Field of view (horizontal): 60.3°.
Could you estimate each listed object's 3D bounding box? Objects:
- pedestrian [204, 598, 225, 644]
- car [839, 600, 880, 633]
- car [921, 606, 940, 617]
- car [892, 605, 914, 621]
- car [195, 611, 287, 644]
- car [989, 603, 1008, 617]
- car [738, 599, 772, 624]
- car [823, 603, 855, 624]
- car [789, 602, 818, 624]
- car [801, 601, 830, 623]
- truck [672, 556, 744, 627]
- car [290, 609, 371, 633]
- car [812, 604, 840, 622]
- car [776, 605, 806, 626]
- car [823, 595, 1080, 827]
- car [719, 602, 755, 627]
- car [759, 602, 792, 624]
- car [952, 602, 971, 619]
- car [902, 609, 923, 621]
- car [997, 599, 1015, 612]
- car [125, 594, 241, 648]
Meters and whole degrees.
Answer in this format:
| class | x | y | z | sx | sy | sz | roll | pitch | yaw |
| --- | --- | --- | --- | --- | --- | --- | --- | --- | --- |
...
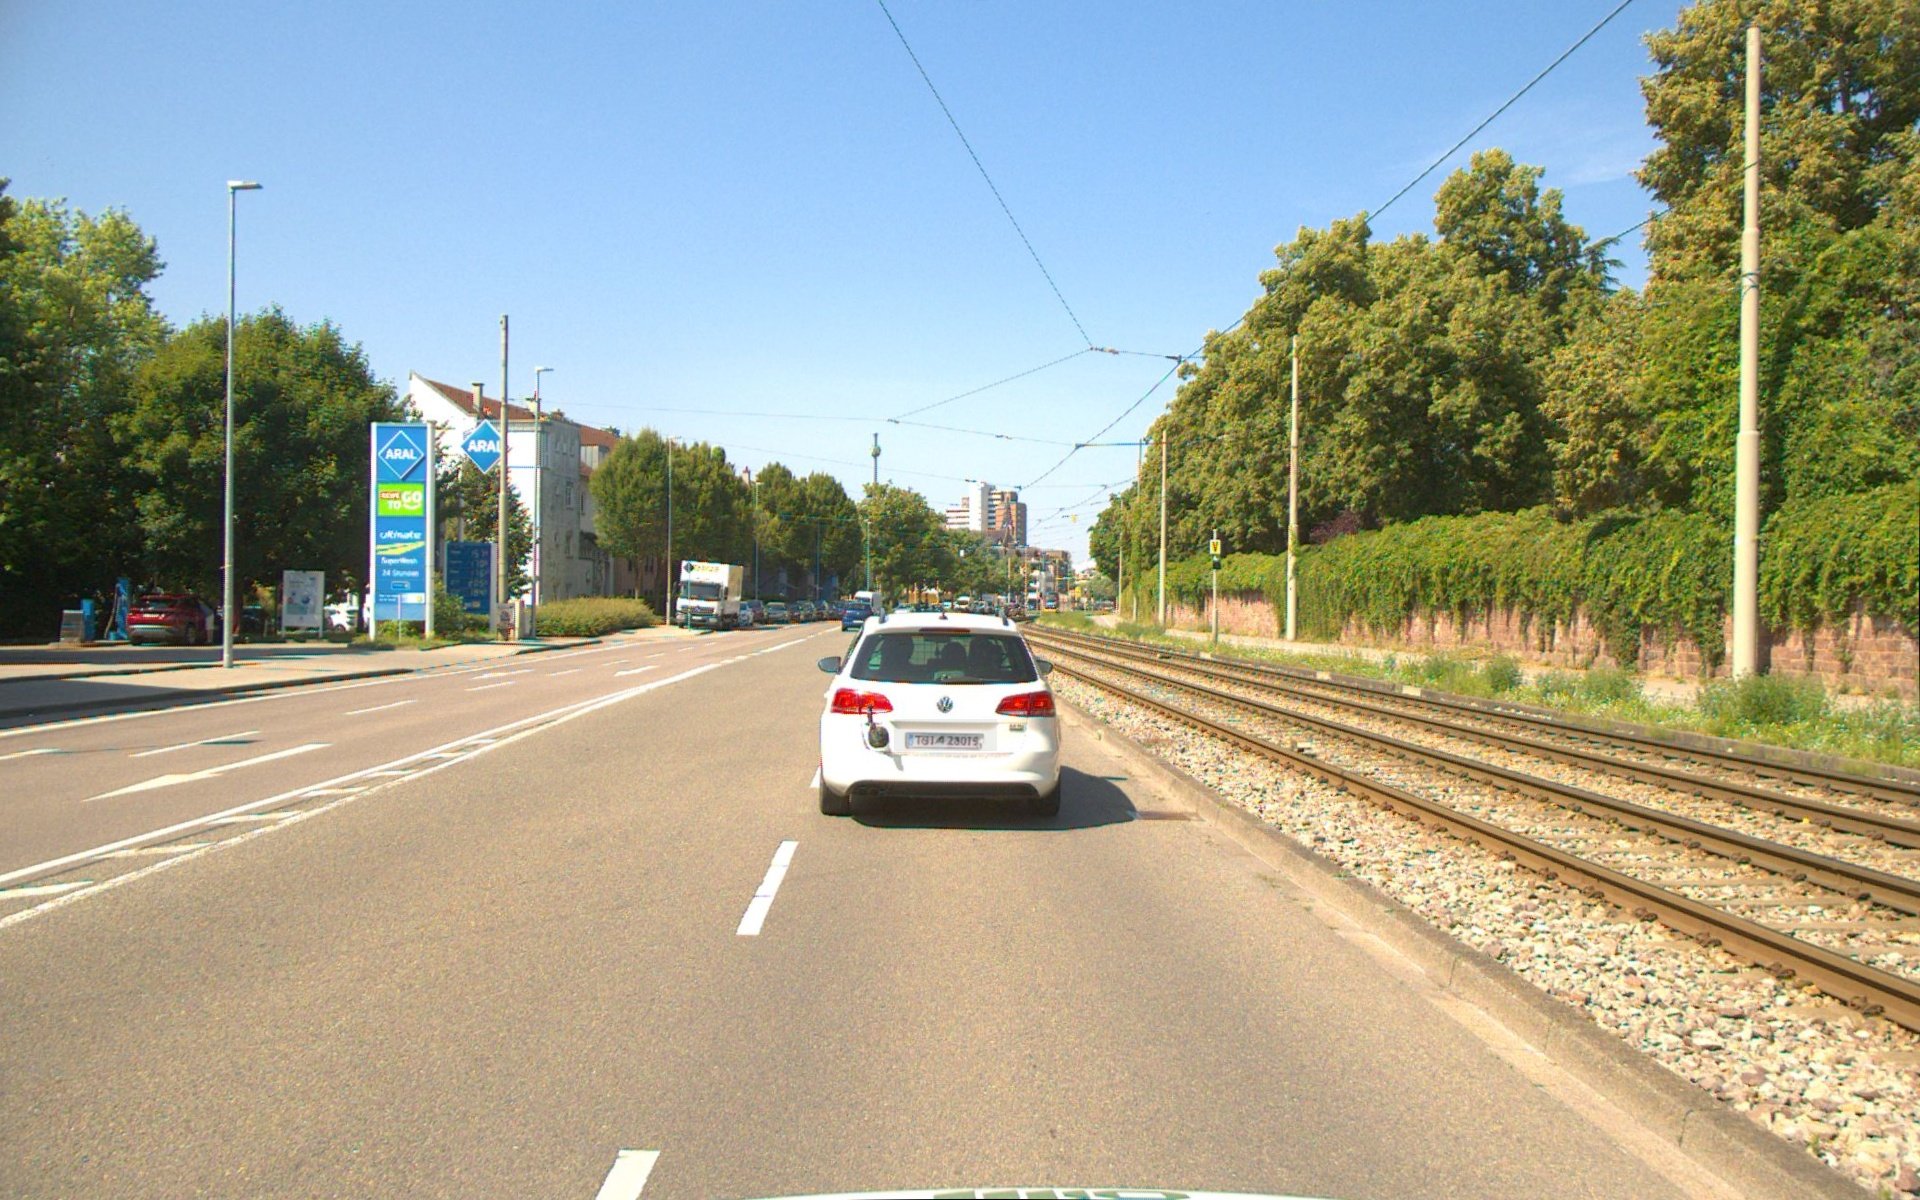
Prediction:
| class | x | y | z | sx | sy | sz | roll | pitch | yaw |
| --- | --- | --- | --- | --- | --- | --- | --- | --- | --- |
| pedestrian | -24.778 | 0.703 | 54.991 | 0.488 | 1.507 | 0.500 | 0 | 0 | -2 |
| car | -5.011 | 0.798 | 82.718 | 1.764 | 1.533 | 4.000 | 1 | 1 | 0 |
| car | -3.648 | 1.436 | 206.313 | 1.663 | 1.376 | 4.003 | 0 | -1 | 10 |
| car | -5.341 | 1.264 | 156.249 | 1.624 | 1.445 | 4.311 | -2 | 0 | 4 |
| car | -32.768 | 1.248 | 75.447 | 3.522 | 1.510 | 1.662 | 0 | 0 | 12 |
| car | 4.449 | 1.160 | 190.285 | 1.762 | 1.534 | 4.003 | 1 | 0 | 6 |
| car | -13.599 | 0.786 | 110.080 | 1.695 | 1.579 | 4.318 | 1 | 0 | 0 |
| car | -10.907 | 1.201 | 149.477 | 1.762 | 1.754 | 4.913 | 3 | 0 | 8 |
| car | -12.595 | 1.046 | 133.368 | 1.681 | 1.653 | 4.314 | 2 | 0 | 3 |
| car | -12.115 | 1.035 | 138.895 | 1.733 | 1.753 | 4.871 | 2 | 0 | 2 |
| truck | -13.612 | -0.437 | 90.048 | 2.613 | 3.592 | 8.588 | 2 | 0 | -1 |
| car | -32.625 | 1.061 | 85.743 | 3.572 | 1.226 | 1.576 | 0 | 0 | 9 |
| car | -11.674 | 1.157 | 144.362 | 1.655 | 1.500 | 4.050 | 3 | 0 | 5 |
| car | -12.985 | 1.178 | 127.393 | 1.687 | 1.500 | 4.716 | 2 | 0 | 2 |
| car | -0.109 | 0.727 | 13.116 | 1.657 | 1.476 | 4.457 | 1 | 0 | -1 |
| car | -13.804 | 0.911 | 102.593 | 1.722 | 1.454 | 4.280 | 2 | 0 | -1 |
| car | -13.449 | 0.943 | 120.759 | 1.744 | 1.509 | 4.857 | 2 | -1 | 0 |
| car | 0.252 | 1.572 | 240.381 | 1.840 | 2.458 | 5.120 | 0 | -1 | 10 |
| car | -5.494 | 1.746 | 193.543 | 1.663 | 1.442 | 4.003 | 0 | -1 | 10 |
| car | 5.495 | 0.625 | 196.290 | 1.762 | 1.486 | 4.003 | 1 | 0 | 6 |
| car | -25.518 | 0.658 | 54.476 | 1.763 | 1.597 | 4.517 | 0 | 1 | -2 |
